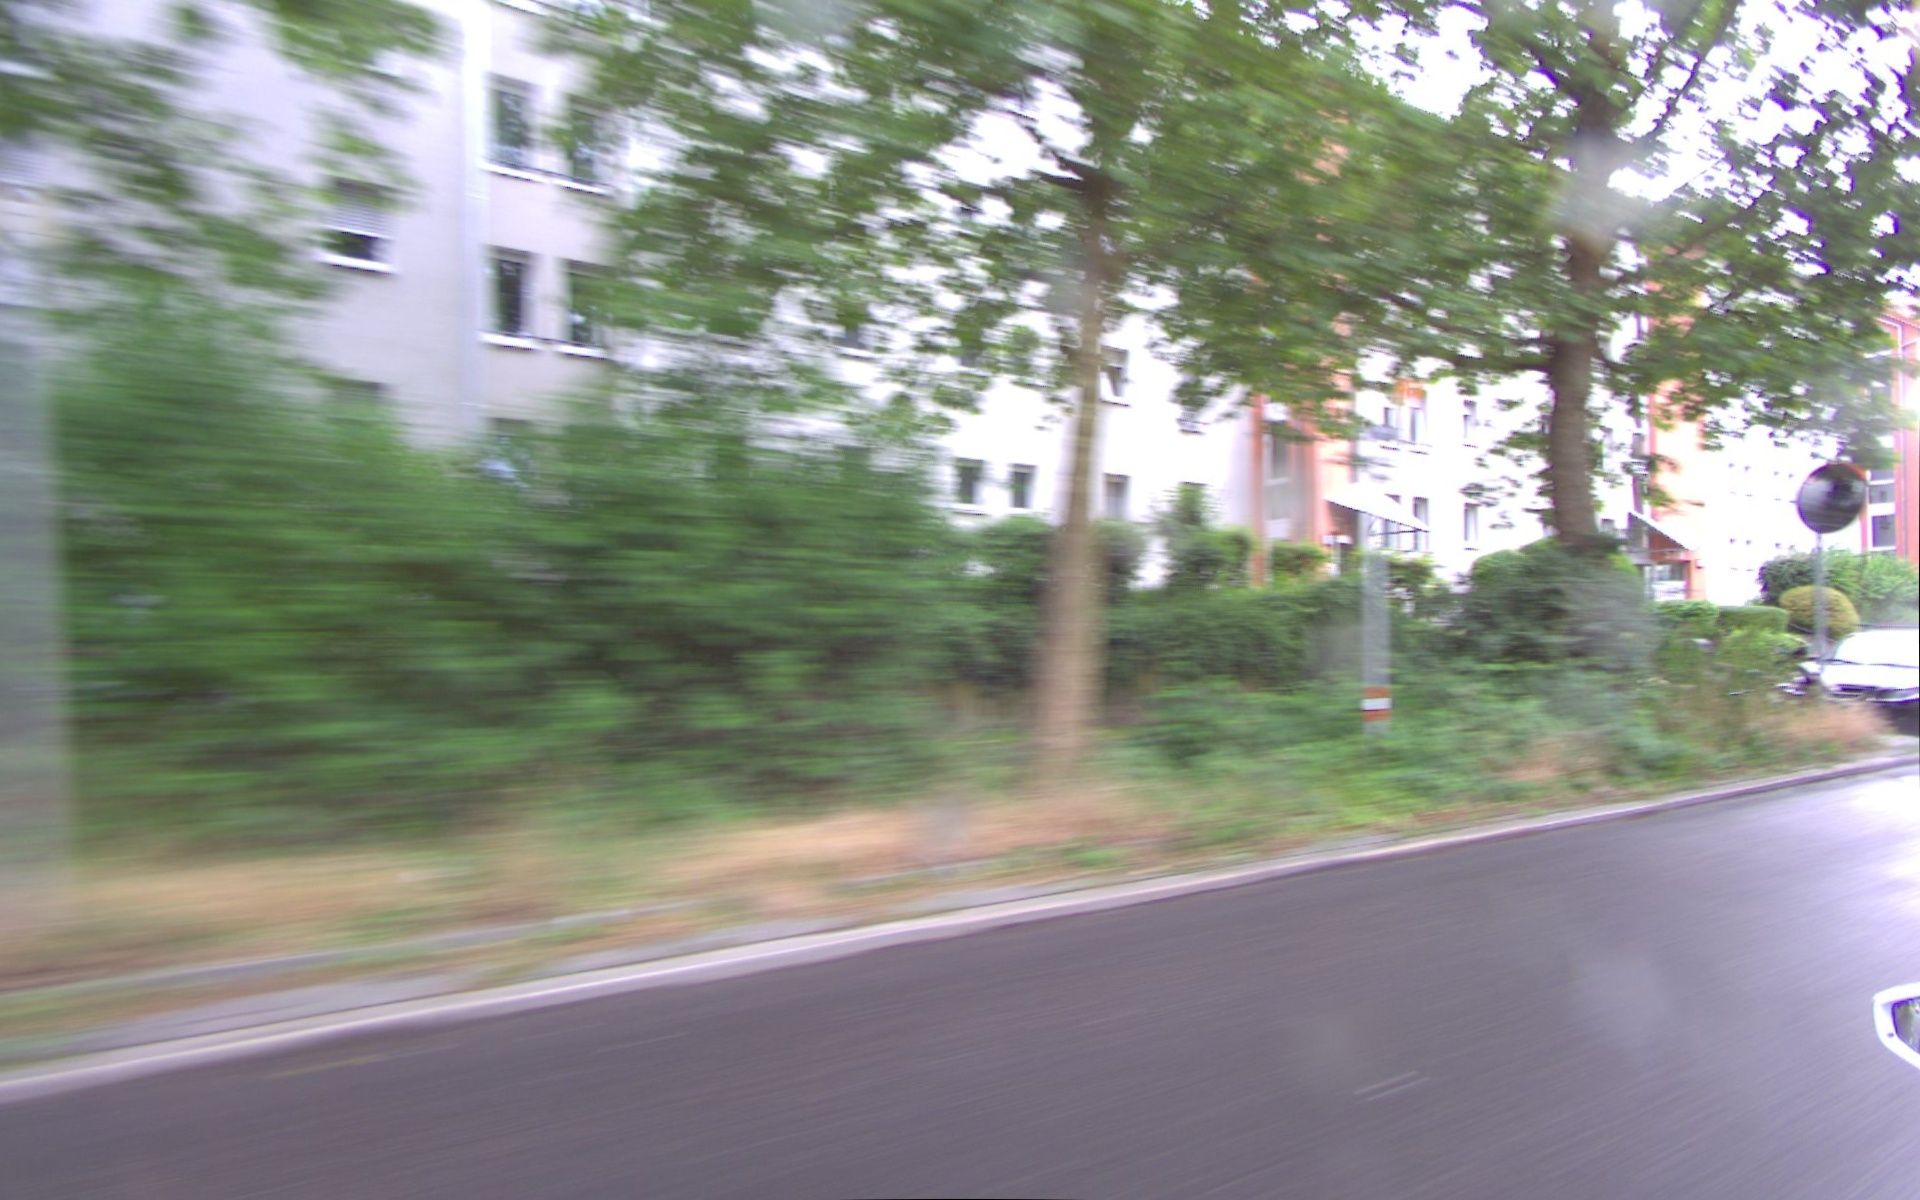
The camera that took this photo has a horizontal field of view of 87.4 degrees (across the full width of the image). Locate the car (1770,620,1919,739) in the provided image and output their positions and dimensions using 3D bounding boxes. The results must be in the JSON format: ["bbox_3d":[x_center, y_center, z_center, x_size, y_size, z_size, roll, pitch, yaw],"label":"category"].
[{"bbox_3d":[14.166,1.079,15.083,4.751,1.529,1.707,1,-1,-32],"label":"car"}]

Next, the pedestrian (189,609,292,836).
[{"bbox_3d":[-5.516,0.901,7.731,0.584,1.652,0.592,1,-2,-32],"label":"pedestrian"}]

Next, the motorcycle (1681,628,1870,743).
[{"bbox_3d":[10.349,1.055,12.813,0.713,1.358,1.705,1,-2,-30],"label":"motorcycle"}]
